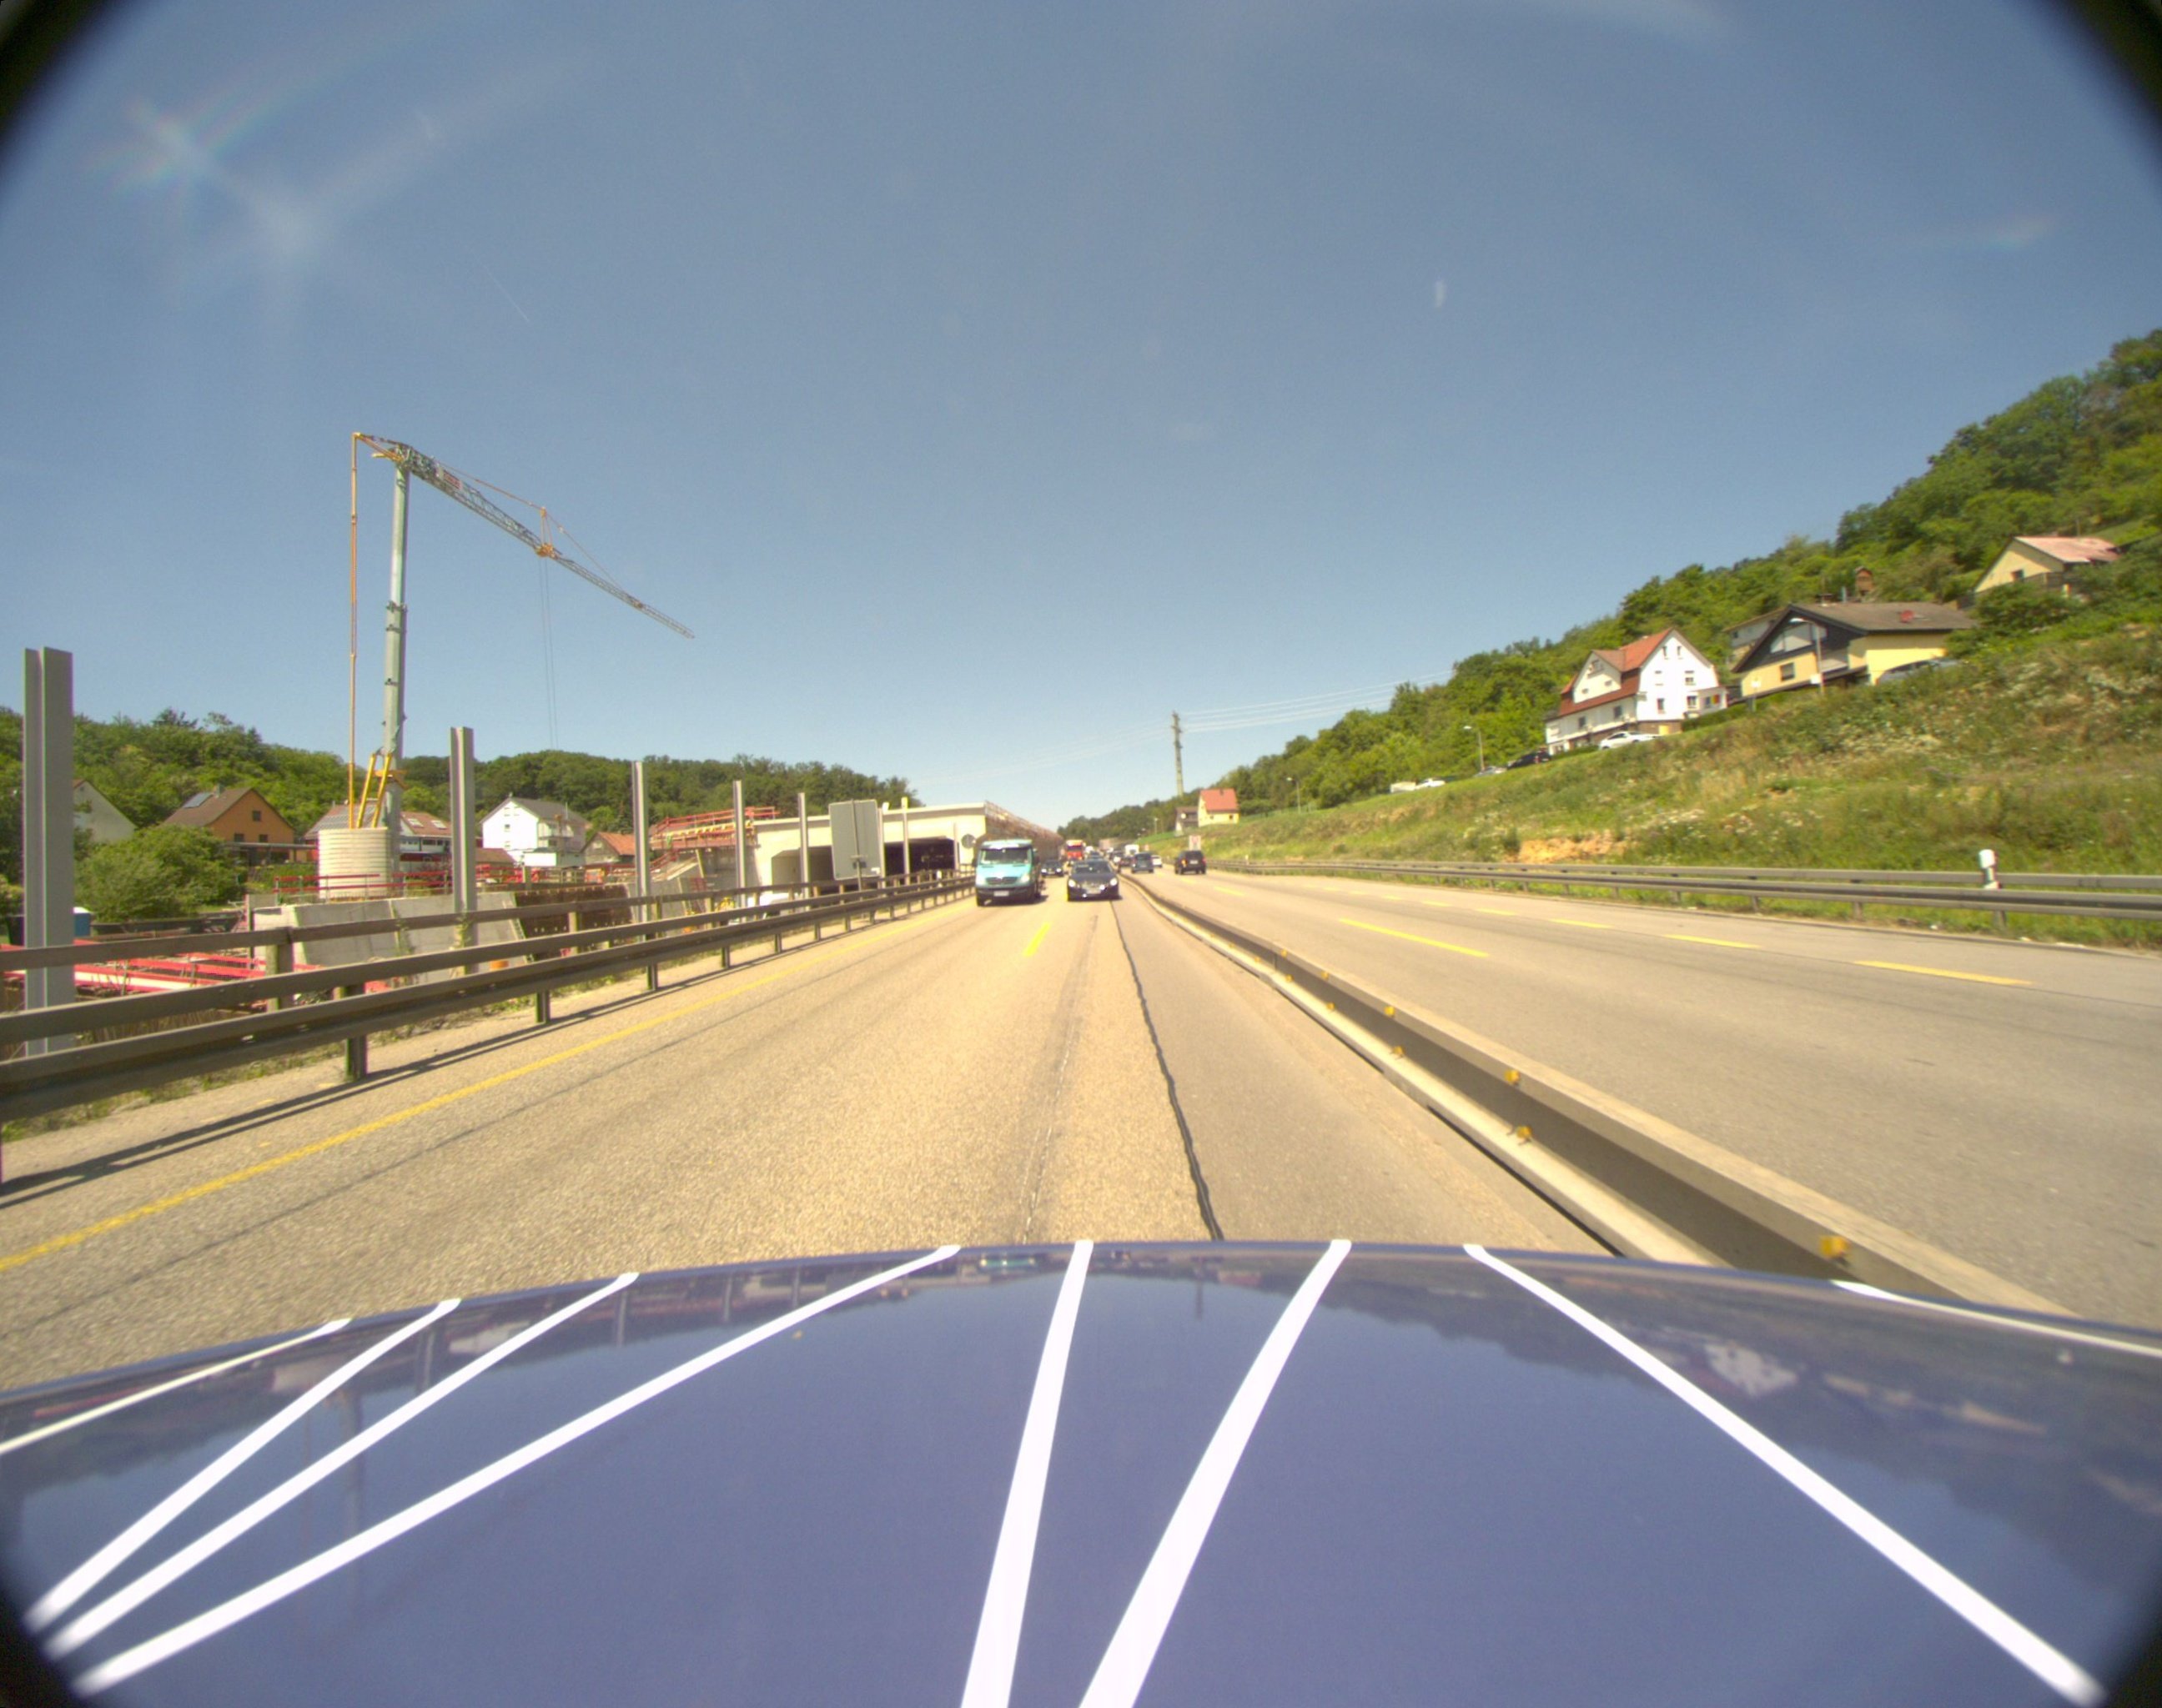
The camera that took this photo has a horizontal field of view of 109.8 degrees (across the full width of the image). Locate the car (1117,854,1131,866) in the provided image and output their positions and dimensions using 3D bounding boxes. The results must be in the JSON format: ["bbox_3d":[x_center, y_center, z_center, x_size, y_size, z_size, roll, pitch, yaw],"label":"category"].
[{"bbox_3d":[6.279,0.873,110.957,1.811,1.630,4.172,-2,0,0],"label":"car"}]

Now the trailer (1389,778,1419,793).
[{"bbox_3d":[38.431,-8.148,90.423,1.908,1.507,3.034,-2,1,-10],"label":"trailer"}]

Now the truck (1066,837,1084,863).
[{"bbox_3d":[-1.003,-0.768,133.515,2.750,4.222,9.093,-2,1,1],"label":"truck"}]

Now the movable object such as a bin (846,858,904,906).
[{"bbox_3d":[-20.161,2.640,75.086,2.961,4.039,9.154,-2,1,1],"label":"movable object such as a bin"}]

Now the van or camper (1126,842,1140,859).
[{"bbox_3d":[10.117,-0.690,147.472,2.297,3.048,6.924,-2,0,1],"label":"van or camper"}]

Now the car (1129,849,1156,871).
[{"bbox_3d":[5.173,0.476,64.491,1.850,1.767,4.882,-2,0,1],"label":"car"}]

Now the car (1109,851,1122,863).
[{"bbox_3d":[5.854,0.546,130.345,1.915,2.002,4.905,-2,0,0],"label":"car"}]

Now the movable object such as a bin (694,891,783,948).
[{"bbox_3d":[-19.732,3.690,44.108,2.149,2.661,5.501,-2,1,5],"label":"movable object such as a bin"}]

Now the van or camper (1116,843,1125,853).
[{"bbox_3d":[11.124,-1.630,212.146,2.145,2.558,6.564,-3,0,1],"label":"van or camper"}]

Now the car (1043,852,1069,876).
[{"bbox_3d":[-2.027,0.786,62.217,1.885,1.805,4.249,-2,1,1],"label":"car"}]

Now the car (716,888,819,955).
[{"bbox_3d":[-16.998,3.548,41.752,2.149,2.840,7.023,-2,1,5],"label":"car"}]

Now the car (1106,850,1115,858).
[{"bbox_3d":[6.678,-0.035,173.165,1.842,1.817,5.040,-2,0,0],"label":"car"}]

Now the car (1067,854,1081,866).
[{"bbox_3d":[-1.060,0.884,112.985,1.883,1.532,4.281,-2,1,1],"label":"car"}]

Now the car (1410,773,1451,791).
[{"bbox_3d":[39.147,-8.063,85.229,2.000,1.646,4.548,-2,1,-8],"label":"car"}]

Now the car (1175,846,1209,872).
[{"bbox_3d":[8.087,0.356,55.676,1.832,1.755,4.497,-1,0,1],"label":"car"}]

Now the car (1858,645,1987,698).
[{"bbox_3d":[42.649,-9.205,38.639,1.999,1.784,3.997,-2,1,-6],"label":"car"}]

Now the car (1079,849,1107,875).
[{"bbox_3d":[0.965,0.603,58.372,1.884,1.805,4.250,-2,1,3],"label":"car"}]

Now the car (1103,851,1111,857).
[{"bbox_3d":[7.088,-0.074,207.028,1.847,1.467,4.834,-2,0,1],"label":"car"}]

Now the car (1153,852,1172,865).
[{"bbox_3d":[9.641,0.509,90.152,1.808,1.488,4.599,-2,0,0],"label":"car"}]

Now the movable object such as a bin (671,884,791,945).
[{"bbox_3d":[-24.594,4.231,53.430,7.141,2.883,3.503,-11,-2,23],"label":"movable object such as a bin"}]

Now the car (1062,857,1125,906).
[{"bbox_3d":[0.487,0.913,27.055,1.998,1.441,4.601,-2,1,2],"label":"car"}]

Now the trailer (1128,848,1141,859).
[{"bbox_3d":[10.023,-0.077,141.577,2.106,1.883,5.141,-2,0,1],"label":"trailer"}]

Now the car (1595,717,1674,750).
[{"bbox_3d":[42.037,-9.139,57.856,1.999,1.784,5.008,-2,1,-6],"label":"car"}]

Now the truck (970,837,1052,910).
[{"bbox_3d":[-2.456,0.572,28.862,2.139,2.344,7.432,-2,1,2],"label":"truck"}]

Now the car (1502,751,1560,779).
[{"bbox_3d":[41.175,-8.118,69.651,2.076,1.997,4.970,-2,1,-4],"label":"car"}]

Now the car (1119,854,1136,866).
[{"bbox_3d":[5.632,0.707,91.955,1.802,1.458,4.355,-1,0,1],"label":"car"}]

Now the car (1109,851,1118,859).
[{"bbox_3d":[6.348,0.146,148.561,1.487,1.496,2.805,-2,0,1],"label":"car"}]

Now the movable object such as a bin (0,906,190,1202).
[{"bbox_3d":[-19.802,3.569,10.483,3.235,4.716,9.653,-2,1,1],"label":"movable object such as a bin"}]

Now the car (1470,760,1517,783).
[{"bbox_3d":[40.534,-8.075,74.752,1.999,1.861,4.428,-2,1,-5],"label":"car"}]
